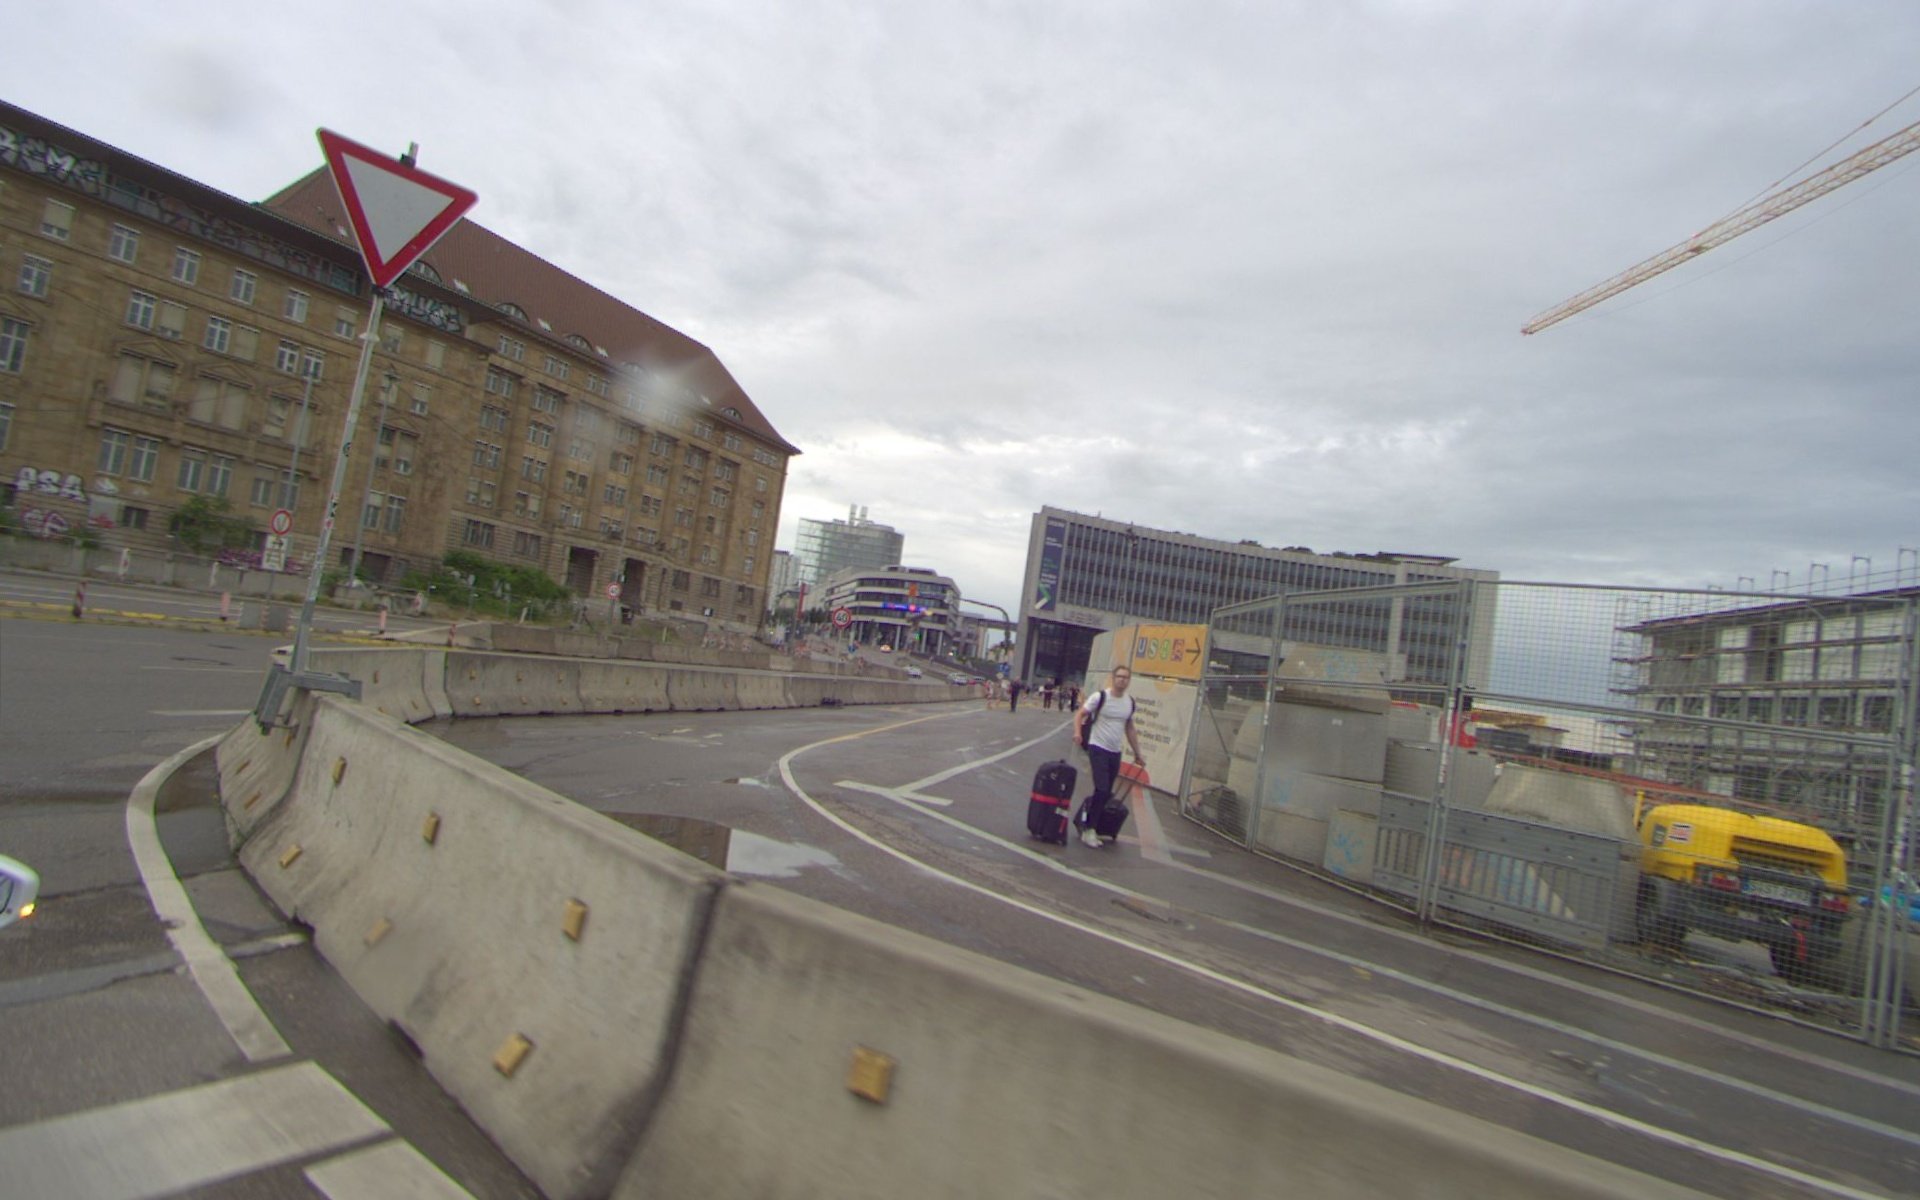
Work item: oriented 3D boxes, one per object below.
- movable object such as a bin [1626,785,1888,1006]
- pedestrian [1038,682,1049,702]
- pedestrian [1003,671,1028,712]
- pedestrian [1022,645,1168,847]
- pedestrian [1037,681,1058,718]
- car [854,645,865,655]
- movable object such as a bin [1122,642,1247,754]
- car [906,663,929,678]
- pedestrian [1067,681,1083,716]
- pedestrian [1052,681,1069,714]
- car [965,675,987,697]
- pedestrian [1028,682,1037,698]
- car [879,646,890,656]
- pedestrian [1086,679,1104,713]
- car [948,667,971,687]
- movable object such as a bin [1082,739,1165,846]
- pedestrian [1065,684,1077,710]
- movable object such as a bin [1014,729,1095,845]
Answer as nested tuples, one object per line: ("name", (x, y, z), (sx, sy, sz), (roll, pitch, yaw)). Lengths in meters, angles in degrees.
("movable object such as a bin", (7.391, 2.672, 9.505), (1.165, 1.487, 1.898), (7, -3, 15))
("pedestrian", (8.499, 9.337, 102.427), (0.767, 1.882, 0.813), (8, -2, 4))
("pedestrian", (2.672, 4.435, 48.587), (0.910, 1.853, 0.688), (8, -3, 10))
("pedestrian", (1.384, 1.495, 10.319), (0.996, 1.884, 0.771), (11, -4, -38))
("pedestrian", (4.748, 5.382, 54.557), (0.783, 1.897, 0.822), (8, -3, 10))
("car", (-20.776, 10.252, 207.205), (1.966, 1.823, 4.266), (9, -3, -6))
("movable object such as a bin", (8.413, 3.708, 38.332), (3.866, 3.529, 4.365), (7, -3, 7))
("car", (-5.188, 8.649, 123.617), (1.722, 1.521, 3.744), (10, -4, -17))
("pedestrian", (6.999, 5.979, 61.073), (0.668, 2.036, 0.687), (7, -1, 10))
("pedestrian", (6.106, 5.903, 61.060), (0.783, 1.853, 0.627), (8, -3, 10))
("car", (1.438, 7.596, 88.761), (1.648, 1.522, 3.756), (8, -6, 3))
("pedestrian", (7.822, 9.721, 108.552), (0.740, 1.660, 0.824), (8, -2, -4))
("car", (-15.823, 10.590, 210.524), (1.966, 1.823, 4.266), (9, -3, -6))
("pedestrian", (7.872, 5.594, 58.618), (0.774, 1.882, 0.684), (8, -2, 4))
("car", (-0.042, 8.852, 115.707), (1.717, 1.895, 3.774), (9, -4, -11))
("movable object such as a bin", (1.761, 2.074, 10.855), (0.515, 1.027, 0.548), (11, -4, -37))
("pedestrian", (8.275, 7.213, 75.008), (0.654, 1.882, 0.684), (8, -2, 4))
("movable object such as a bin", (0.934, 1.850, 9.983), (0.429, 1.027, 0.517), (11, -4, -37))
